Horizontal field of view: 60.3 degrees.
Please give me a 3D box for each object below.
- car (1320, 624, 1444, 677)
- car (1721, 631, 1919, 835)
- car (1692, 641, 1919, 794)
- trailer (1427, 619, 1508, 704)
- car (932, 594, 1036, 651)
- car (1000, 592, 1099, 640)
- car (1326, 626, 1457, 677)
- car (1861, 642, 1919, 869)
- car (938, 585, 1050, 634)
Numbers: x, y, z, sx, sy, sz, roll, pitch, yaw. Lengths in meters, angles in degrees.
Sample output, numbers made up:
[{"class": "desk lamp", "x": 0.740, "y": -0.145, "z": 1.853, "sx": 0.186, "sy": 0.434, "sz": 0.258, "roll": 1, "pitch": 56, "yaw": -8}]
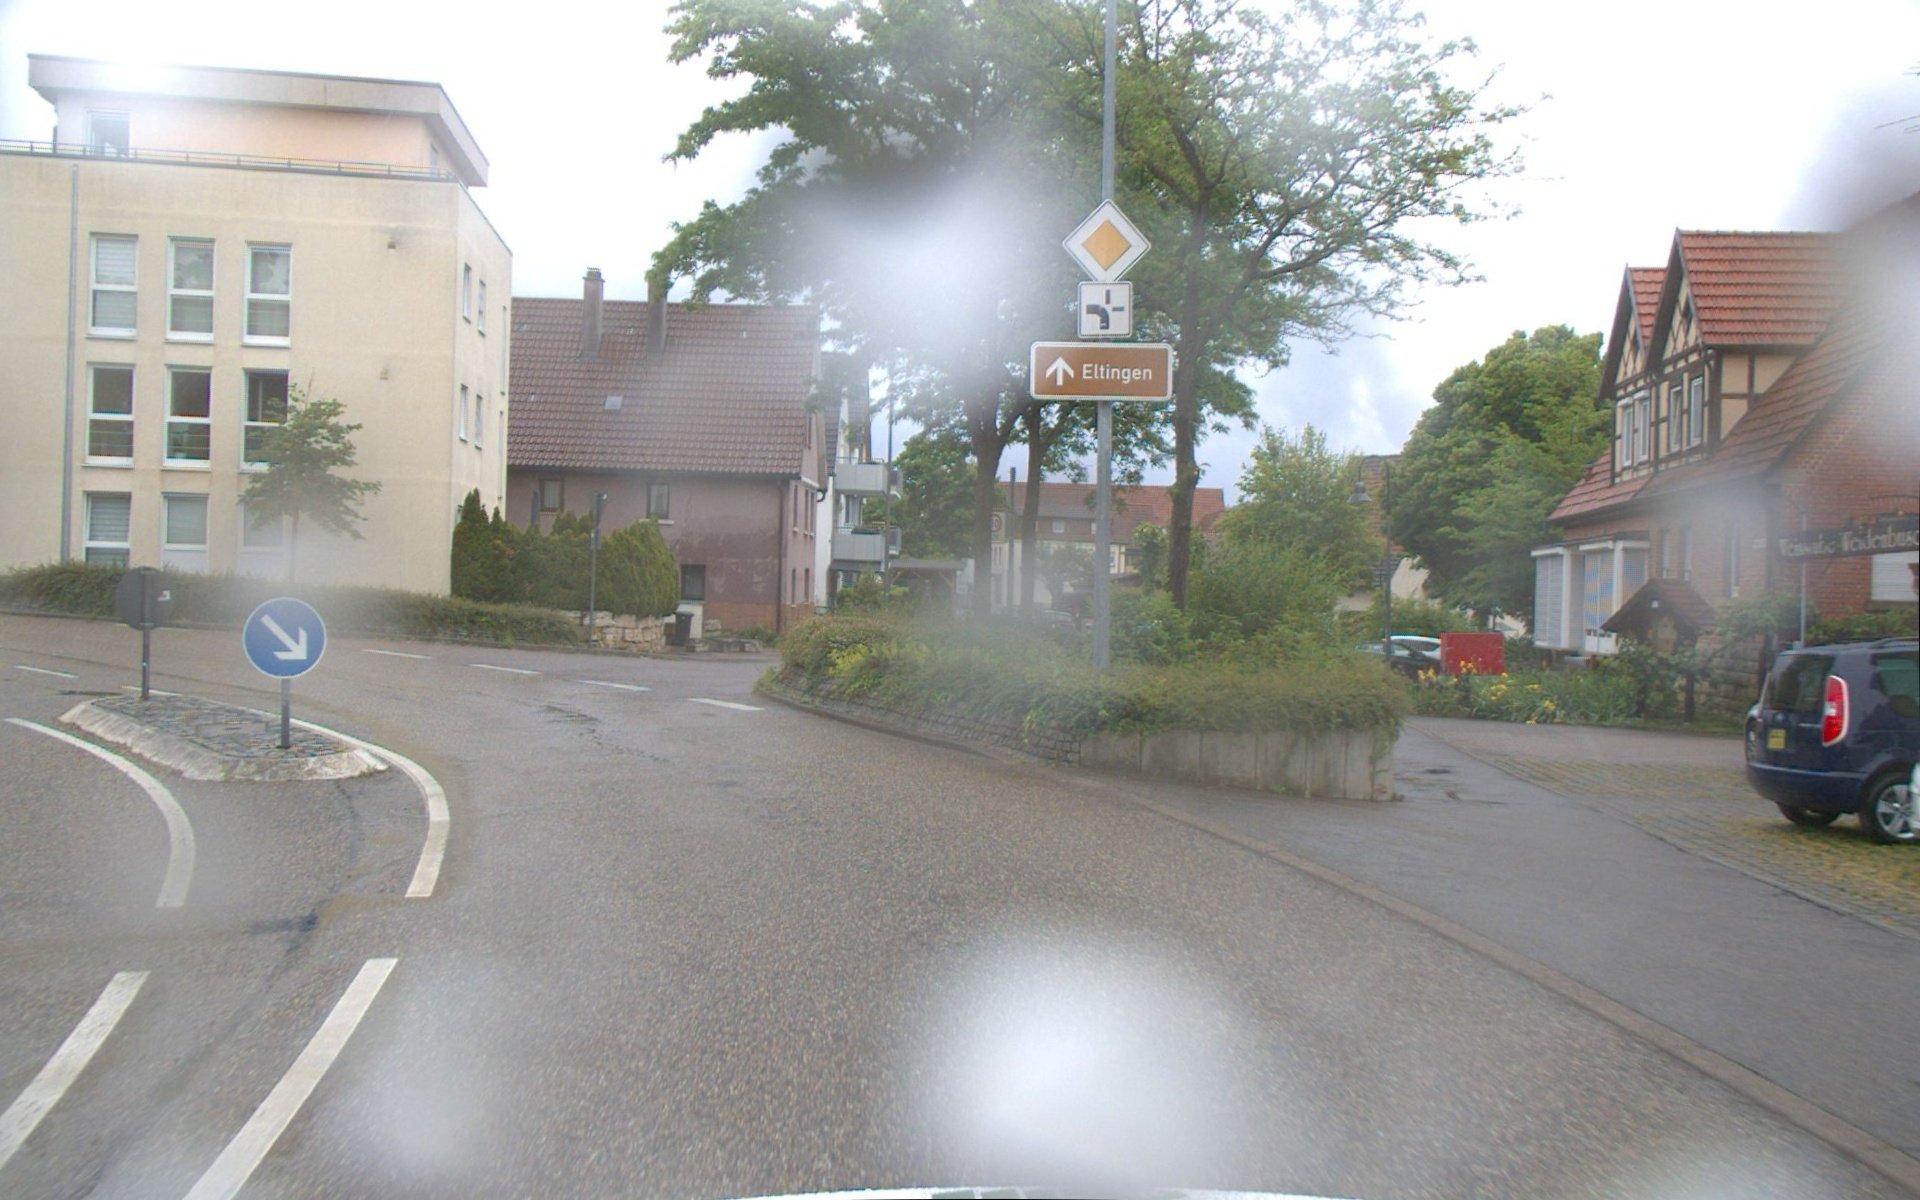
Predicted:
[{"class": "car", "x": 15.287, "y": 1.820, "z": 59.891, "sx": 3.912, "sy": 1.579, "sz": 1.997, "roll": 4, "pitch": 0, "yaw": 28}, {"class": "car", "x": 8.778, "y": 1.087, "z": 13.971, "sx": 3.904, "sy": 1.610, "sz": 1.749, "roll": 0, "pitch": -2, "yaw": 2}, {"class": "car", "x": 10.092, "y": 1.276, "z": 19.143, "sx": 1.861, "sy": 1.464, "sz": 4.269, "roll": 1, "pitch": 0, "yaw": 8}, {"class": "trailer", "x": 10.976, "y": 1.308, "z": 35.866, "sx": 1.378, "sy": 1.678, "sz": 2.727, "roll": 4, "pitch": 0, "yaw": 13}, {"class": "car", "x": 0.965, "y": 0.871, "z": 64.975, "sx": 3.904, "sy": 1.914, "sz": 1.840, "roll": 4, "pitch": 0, "yaw": 4}, {"class": "car", "x": 3.670, "y": 0.646, "z": 68.204, "sx": 3.905, "sy": 1.726, "sz": 2.000, "roll": 3, "pitch": 0, "yaw": 1}, {"class": "car", "x": 16.237, "y": 1.927, "z": 62.282, "sx": 4.384, "sy": 1.579, "sz": 1.997, "roll": 4, "pitch": 0, "yaw": 28}, {"class": "car", "x": 8.225, "y": 1.013, "z": 11.128, "sx": 3.347, "sy": 1.556, "sz": 1.720, "roll": -2, "pitch": -2, "yaw": 8}, {"class": "car", "x": 1.219, "y": 0.339, "z": 59.538, "sx": 3.905, "sy": 1.482, "sz": 1.946, "roll": 4, "pitch": 0, "yaw": 1}]
